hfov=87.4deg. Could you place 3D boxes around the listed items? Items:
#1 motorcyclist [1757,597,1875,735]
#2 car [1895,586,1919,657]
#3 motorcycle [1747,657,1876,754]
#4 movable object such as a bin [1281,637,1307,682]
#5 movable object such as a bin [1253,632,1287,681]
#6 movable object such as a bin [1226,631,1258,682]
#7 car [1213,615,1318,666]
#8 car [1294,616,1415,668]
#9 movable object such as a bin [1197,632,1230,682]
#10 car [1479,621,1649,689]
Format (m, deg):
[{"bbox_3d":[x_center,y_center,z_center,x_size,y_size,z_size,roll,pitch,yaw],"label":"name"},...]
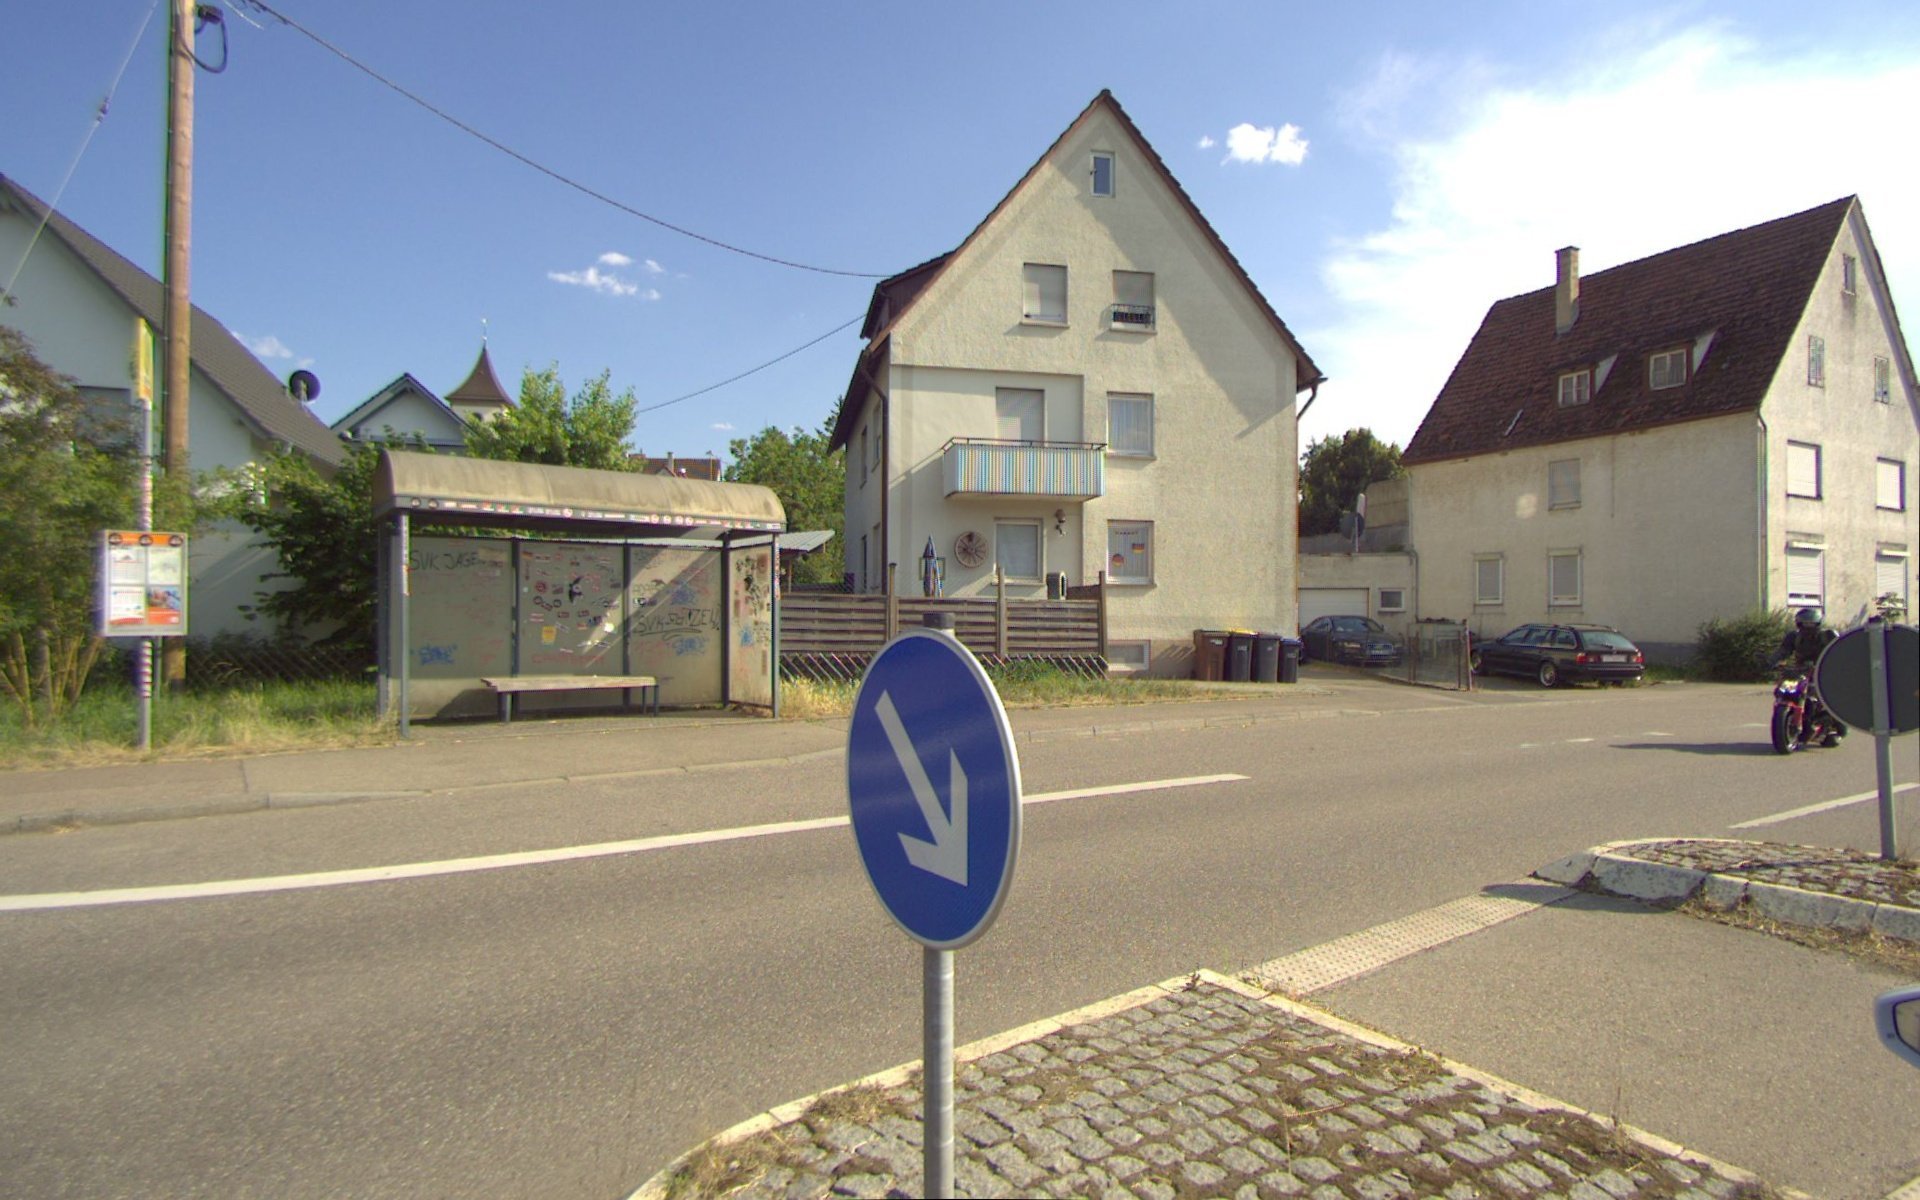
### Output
[{"bbox_3d":[10.192,0.766,11.966,1.005,1.547,0.732,2,1,-31],"label":"motorcyclist"},{"bbox_3d":[38.398,0.808,38.190,6.012,2.630,2.151,0,0,-26],"label":"car"},{"bbox_3d":[10.099,1.213,11.892,2.005,1.026,0.535,1,1,-31],"label":"motorcycle"},{"bbox_3d":[7.163,1.274,21.549,0.393,0.937,0.361,2,-1,-13],"label":"movable object such as a bin"},{"bbox_3d":[6.626,1.204,21.483,0.567,1.036,0.361,2,-1,-13],"label":"movable object such as a bin"},{"bbox_3d":[5.982,1.193,21.308,0.548,1.055,0.361,2,-1,-13],"label":"movable object such as a bin"},{"bbox_3d":[9.504,1.221,31.563,1.655,1.432,3.995,0,0,-7],"label":"car"},{"bbox_3d":[11.710,1.194,30.123,1.655,1.379,3.995,0,0,-7],"label":"car"},{"bbox_3d":[5.347,1.191,21.194,0.548,1.029,0.361,2,-1,-13],"label":"movable object such as a bin"},{"bbox_3d":[14.569,1.274,24.511,1.621,1.452,3.999,0,0,-2],"label":"car"}]
